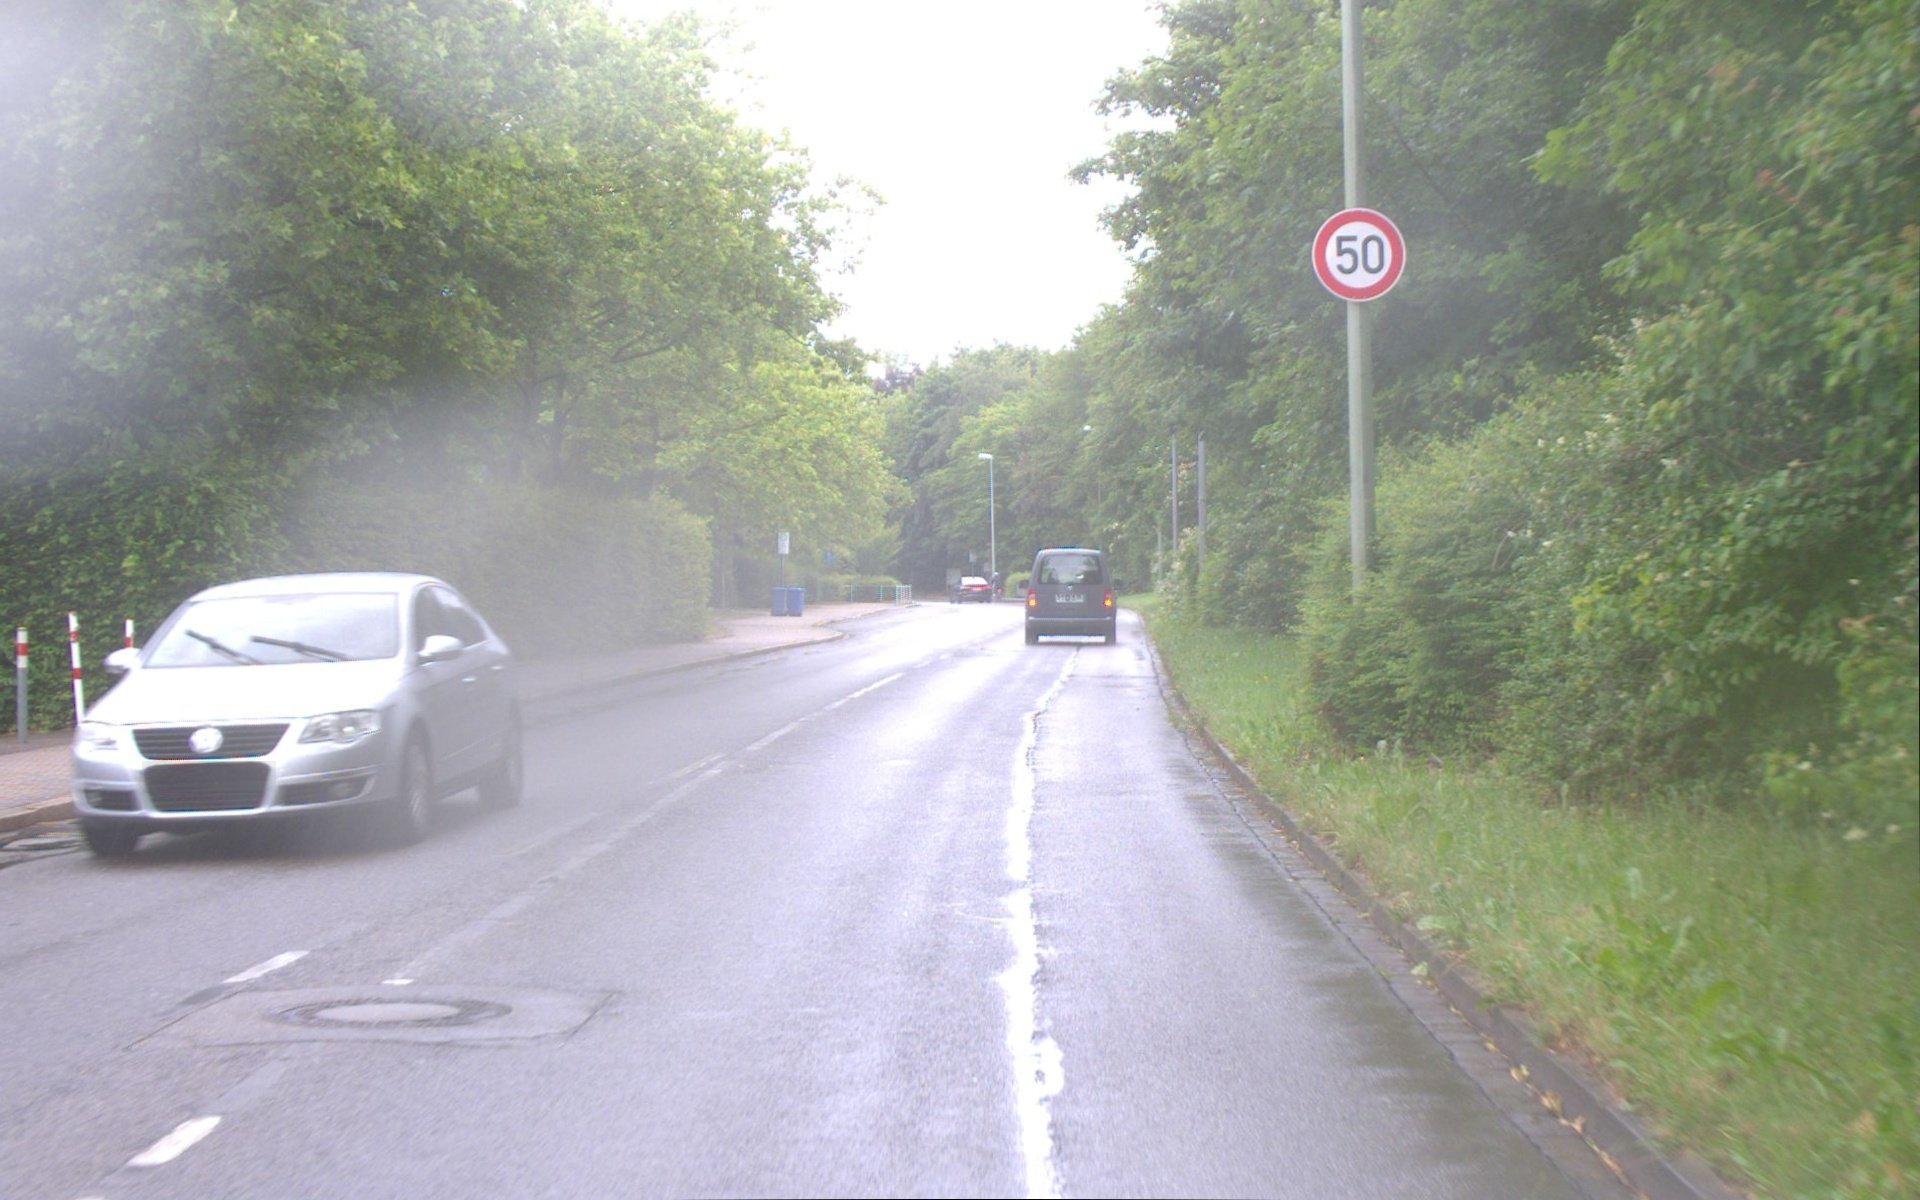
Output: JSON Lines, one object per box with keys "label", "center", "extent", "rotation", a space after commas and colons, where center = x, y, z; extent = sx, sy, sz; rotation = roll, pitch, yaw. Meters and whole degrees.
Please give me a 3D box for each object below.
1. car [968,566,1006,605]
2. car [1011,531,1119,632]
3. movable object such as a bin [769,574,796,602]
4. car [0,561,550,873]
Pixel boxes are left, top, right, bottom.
{"label": "car", "center": [1.487, -0.815, 186.841], "extent": [1.993, 2.007, 4.000], "rotation": [2, 1, 1]}
{"label": "car", "center": [2.063, -0.390, 66.974], "extent": [1.994, 1.787, 4.000], "rotation": [2, 2, 2]}
{"label": "movable object such as a bin", "center": [-6.606, -0.445, 128.137], "extent": [0.666, 1.023, 0.835], "rotation": [-3, 1, -29]}
{"label": "car", "center": [-3.643, 0.551, 19.115], "extent": [1.993, 1.415, 4.486], "rotation": [-2, 1, 2]}
